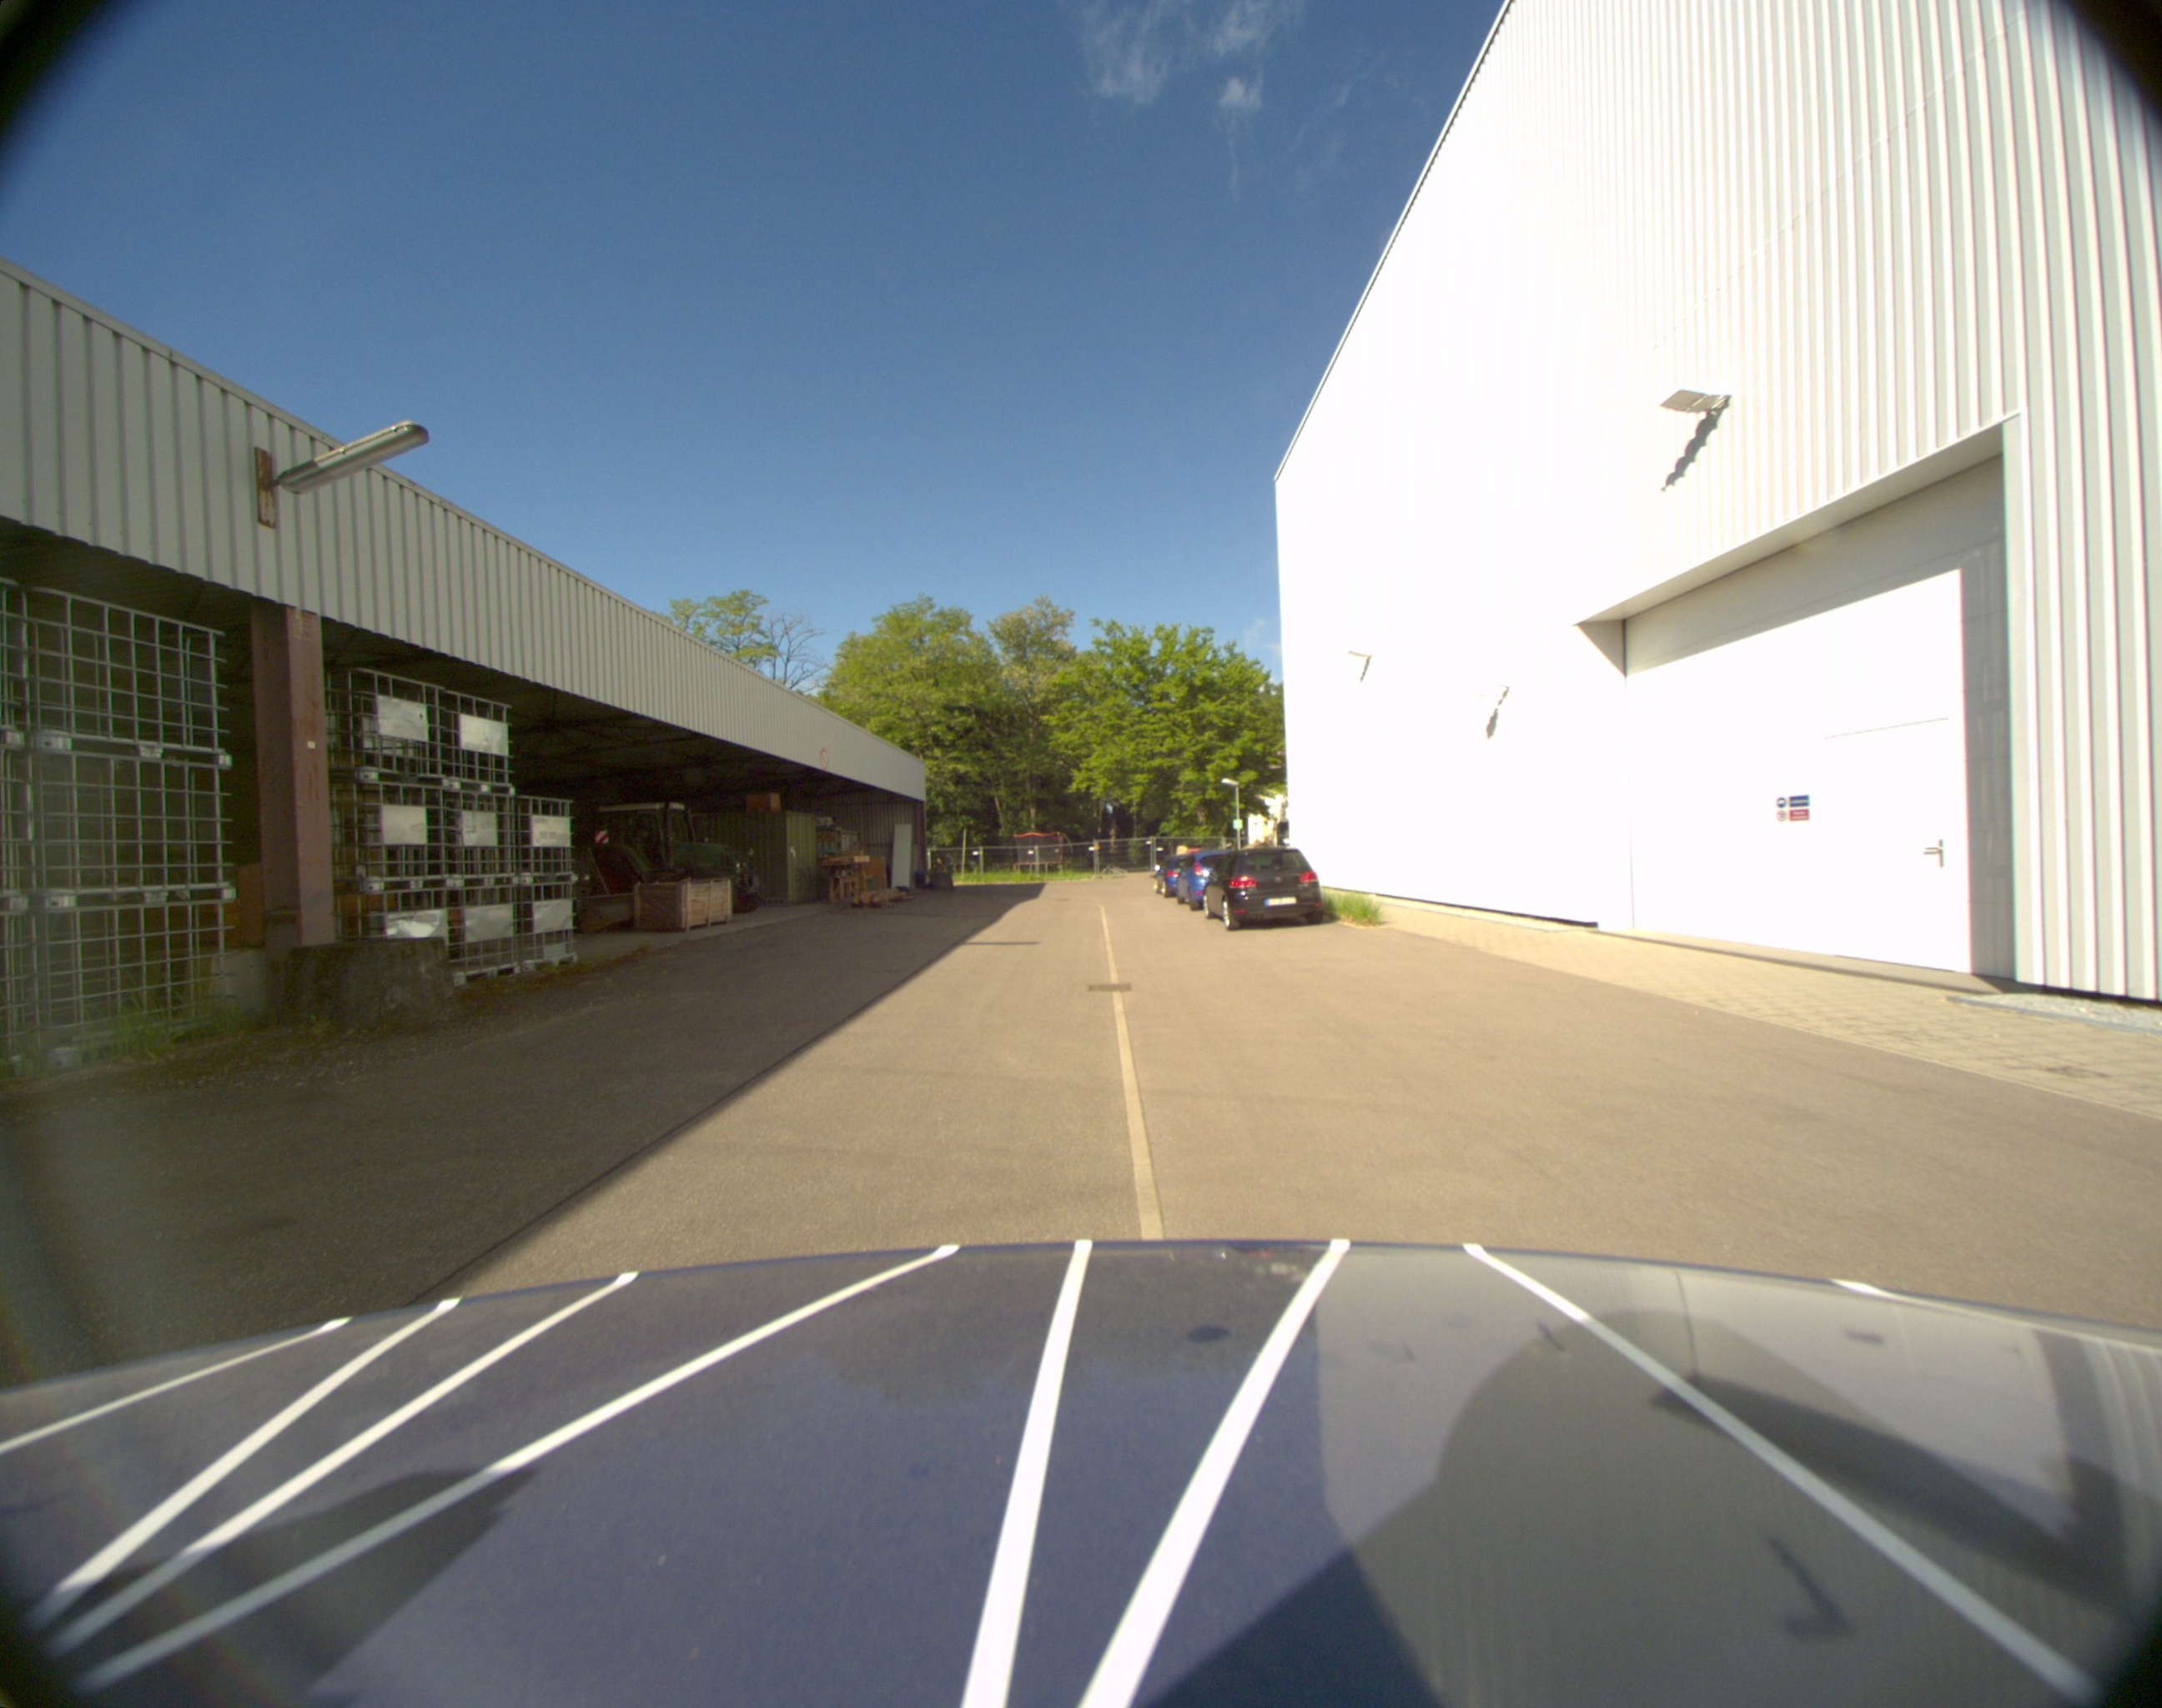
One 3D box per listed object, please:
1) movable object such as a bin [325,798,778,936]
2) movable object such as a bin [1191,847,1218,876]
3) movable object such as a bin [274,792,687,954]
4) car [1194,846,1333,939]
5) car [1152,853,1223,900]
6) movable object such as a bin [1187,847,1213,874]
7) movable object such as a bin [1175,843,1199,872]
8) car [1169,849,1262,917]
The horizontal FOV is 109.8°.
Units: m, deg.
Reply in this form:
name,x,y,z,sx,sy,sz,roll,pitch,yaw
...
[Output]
name,x,y,z,sx,sy,sz,roll,pitch,yaw
movable object such as a bin,-12.987,0.304,19.277,9.214,2.893,3.212,-2,1,2
movable object such as a bin,6.648,0.392,41.000,1.093,1.424,1.230,-4,2,-5
movable object such as a bin,-12.227,0.365,15.962,6.200,2.893,3.016,-2,1,2
car,3.461,0.653,15.208,1.759,1.491,4.294,-4,0,1
car,3.475,0.693,25.553,1.778,1.353,4.053,-3,0,0
movable object such as a bin,6.625,0.349,42.333,1.093,1.431,1.230,-4,2,-5
movable object such as a bin,6.170,0.209,44.232,1.093,1.588,1.230,-3,3,-5
car,3.436,0.671,20.105,1.635,1.491,4.094,-5,0,0
